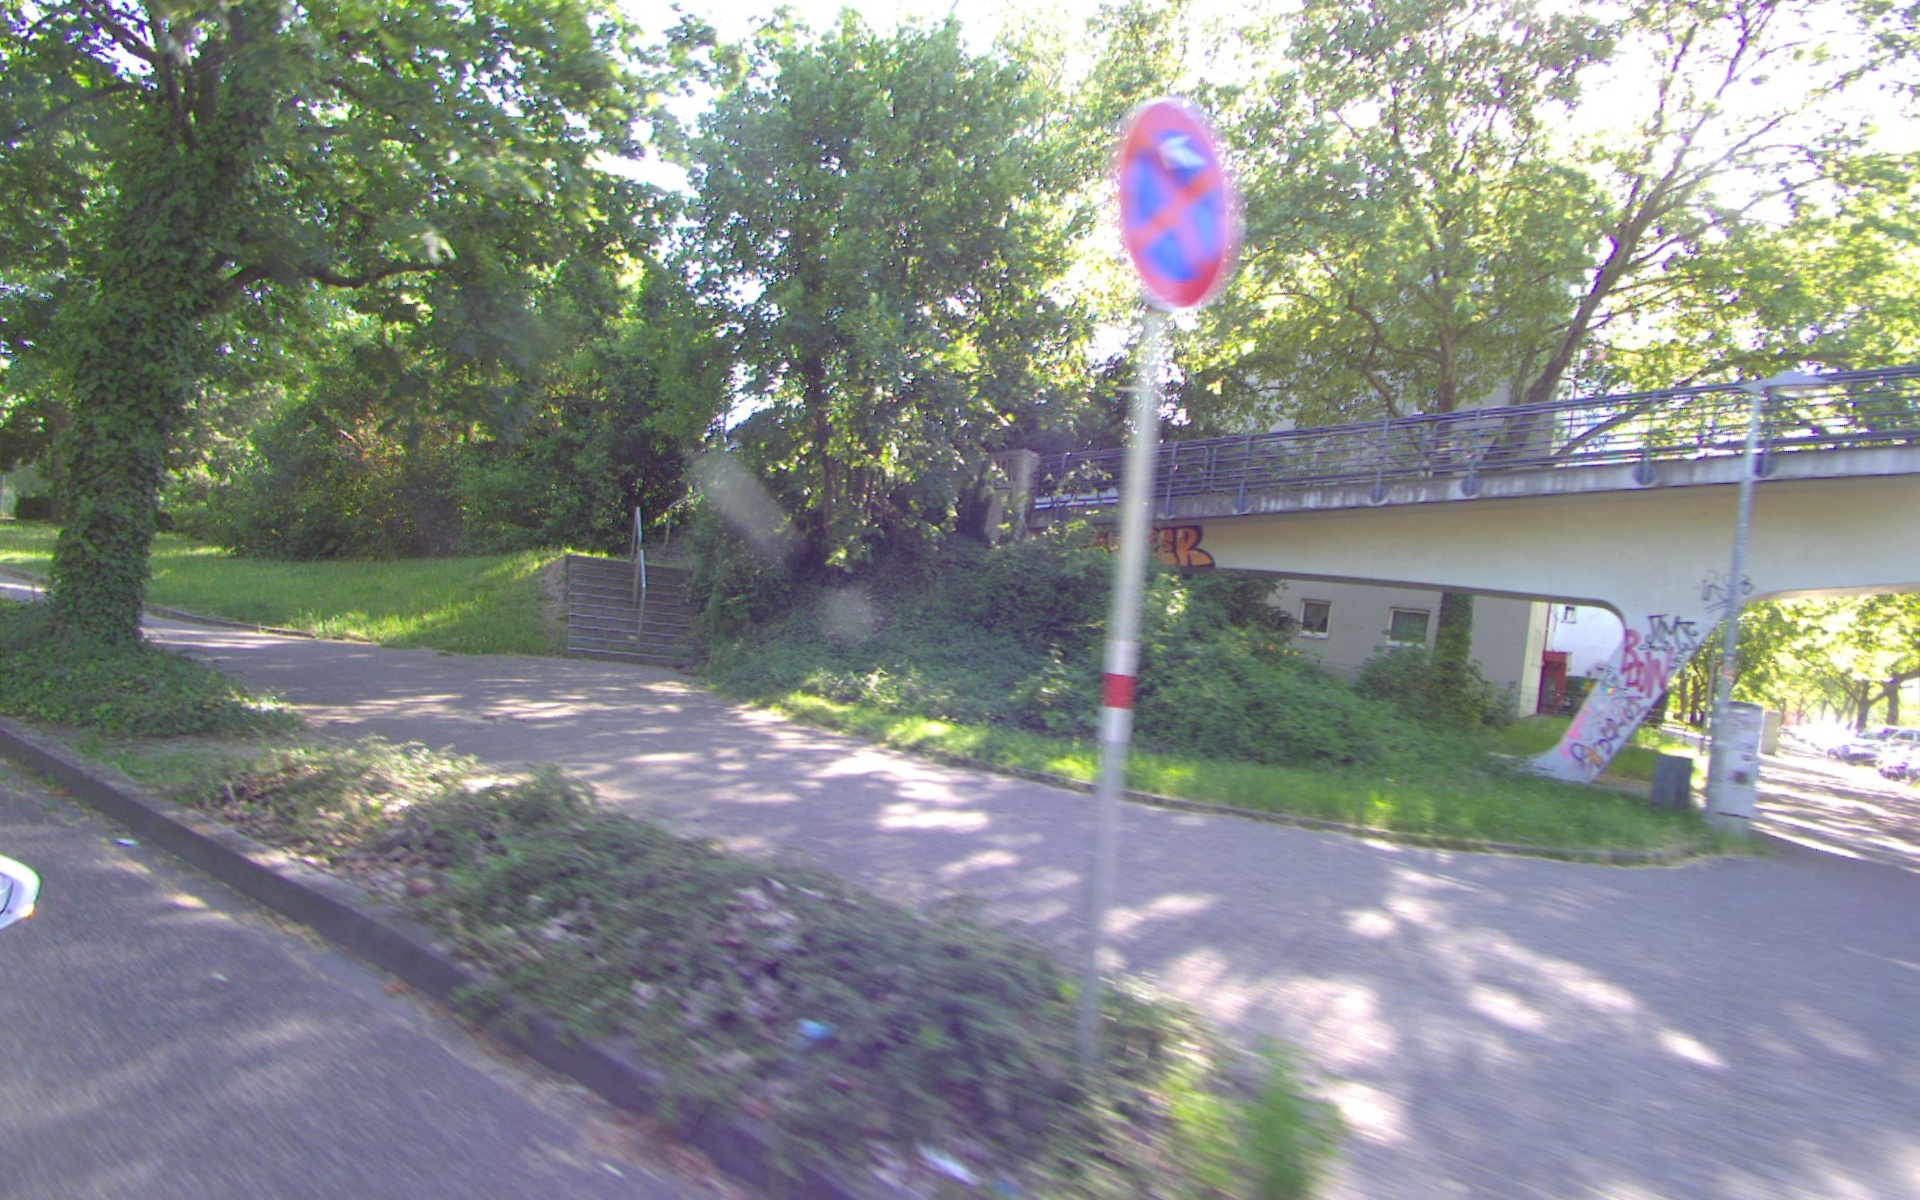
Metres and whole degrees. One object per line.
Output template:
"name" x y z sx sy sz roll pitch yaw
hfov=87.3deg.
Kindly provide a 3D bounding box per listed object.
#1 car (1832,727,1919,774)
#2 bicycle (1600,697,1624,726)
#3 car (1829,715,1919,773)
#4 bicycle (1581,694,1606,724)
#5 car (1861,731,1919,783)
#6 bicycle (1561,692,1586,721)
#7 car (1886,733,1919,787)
"car" 41.834 6.831 44.728 4.508 1.441 1.798 9 1 -3
"bicycle" 26.932 4.604 41.537 0.583 1.121 1.794 7 -1 38
"car" 44.319 6.911 47.540 4.507 2.078 2.016 9 1 -1
"bicycle" 26.444 4.559 41.988 0.583 1.121 1.794 7 -1 38
"car" 34.274 5.718 34.957 4.180 1.480 1.799 9 1 -1
"bicycle" 25.880 4.488 42.430 0.583 1.121 1.794 7 -1 38
"car" 30.461 5.117 30.058 3.931 1.480 1.798 9 1 -6
